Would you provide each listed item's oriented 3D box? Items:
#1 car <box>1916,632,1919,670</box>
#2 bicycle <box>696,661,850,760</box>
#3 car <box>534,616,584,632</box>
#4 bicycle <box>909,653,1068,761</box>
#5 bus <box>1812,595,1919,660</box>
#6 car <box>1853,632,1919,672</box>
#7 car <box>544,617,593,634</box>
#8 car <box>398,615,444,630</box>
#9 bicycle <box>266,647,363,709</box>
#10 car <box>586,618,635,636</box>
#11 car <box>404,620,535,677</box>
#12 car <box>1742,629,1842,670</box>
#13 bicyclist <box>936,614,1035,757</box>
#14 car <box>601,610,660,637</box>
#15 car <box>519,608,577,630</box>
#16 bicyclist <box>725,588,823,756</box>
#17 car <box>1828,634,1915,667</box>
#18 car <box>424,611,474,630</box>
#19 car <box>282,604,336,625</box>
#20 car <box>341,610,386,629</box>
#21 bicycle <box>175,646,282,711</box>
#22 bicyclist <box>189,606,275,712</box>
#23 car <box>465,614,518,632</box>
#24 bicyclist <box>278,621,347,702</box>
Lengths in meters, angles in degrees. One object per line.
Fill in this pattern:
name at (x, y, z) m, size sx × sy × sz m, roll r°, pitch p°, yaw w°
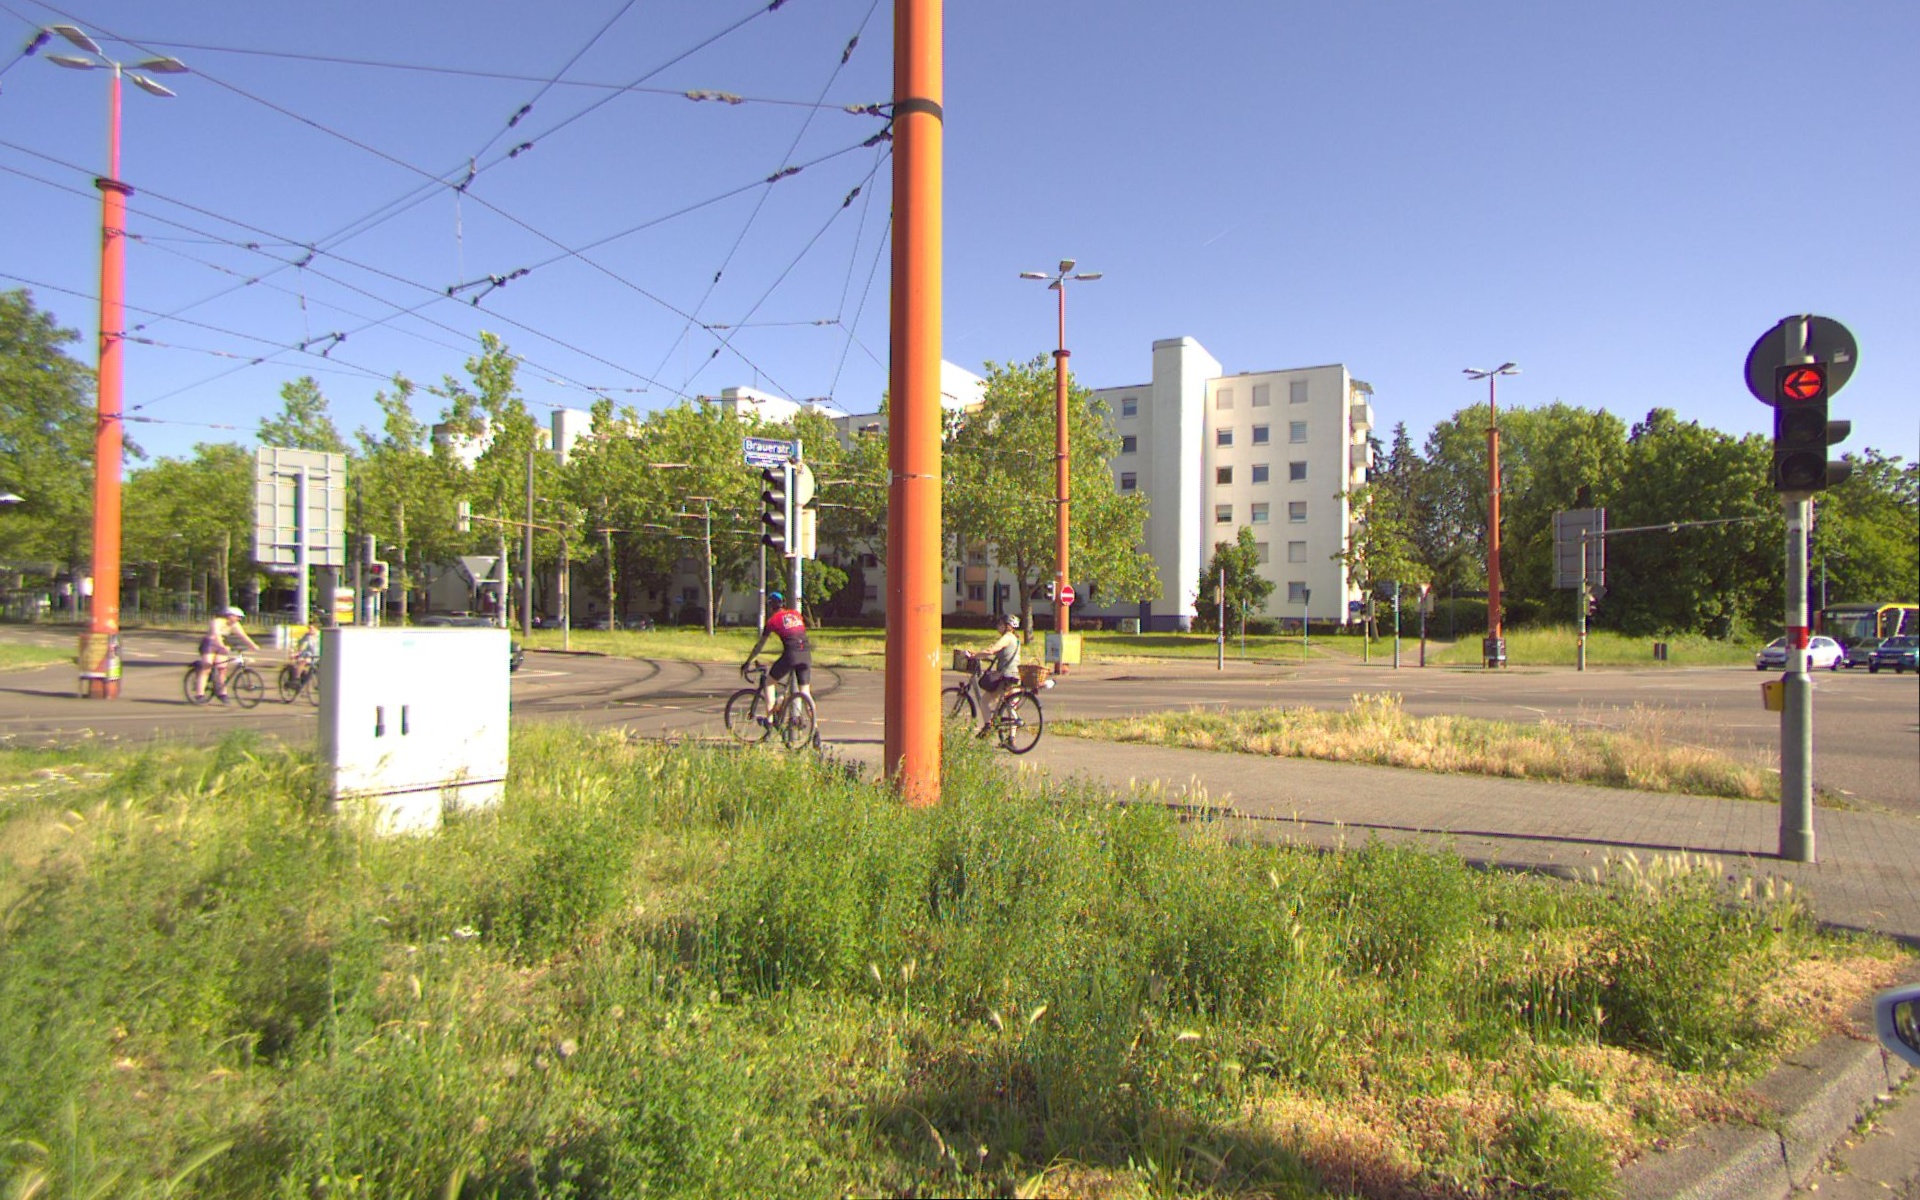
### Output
car at (42.610, 2.169, 42.715) m, size 3.955 × 1.575 × 1.891 m, roll 2°, pitch -2°, yaw -32°
bicycle at (-2.277, 1.291, 12.136) m, size 1.883 × 1.085 × 0.690 m, roll -2°, pitch -2°, yaw 33°
car at (-30.897, 1.859, 77.433) m, size 3.346 × 1.162 × 1.305 m, roll 2°, pitch 0°, yaw -13°
bicycle at (0.319, 1.251, 12.184) m, size 1.887 × 1.146 × 0.737 m, roll 0°, pitch -1°, yaw 41°
bus at (51.993, 1.599, 55.998) m, size 12.382 × 3.304 × 2.634 m, roll 2°, pitch 0°, yaw -29°
car at (37.299, 2.041, 39.764) m, size 3.813 × 1.535 × 1.793 m, roll 1°, pitch -3°, yaw -30°
car at (-29.329, 1.891, 75.337) m, size 3.219 × 1.172 × 1.357 m, roll 2°, pitch 0°, yaw -12°
car at (-46.627, 1.928, 86.950) m, size 3.370 × 1.204 × 1.439 m, roll 2°, pitch 0°, yaw -23°
bicycle at (-12.854, 1.535, 19.994) m, size 1.878 × 1.086 × 0.580 m, roll 2°, pitch 0°, yaw 19°
car at (-25.831, 1.997, 74.310) m, size 3.279 × 1.149 × 1.321 m, roll 2°, pitch 0°, yaw -11°
car at (-15.219, 1.441, 31.095) m, size 3.977 × 1.516 × 1.913 m, roll 2°, pitch 0°, yaw 34°
car at (35.369, 2.112, 42.686) m, size 4.168 × 1.673 × 1.869 m, roll 2°, pitch -3°, yaw -29°
bicyclist at (0.319, 1.001, 12.225) m, size 0.815 × 1.643 × 0.888 m, roll 0°, pitch -1°, yaw 41°
car at (-23.667, 1.704, 72.293) m, size 3.874 × 1.841 × 1.651 m, roll 2°, pitch 0°, yaw -13°
car at (-32.549, 1.508, 79.429) m, size 3.868 × 1.614 × 1.656 m, roll 2°, pitch 0°, yaw -8°
bicyclist at (-2.243, 0.848, 12.118) m, size 0.974 × 1.938 × 0.685 m, roll -1°, pitch -2°, yaw 33°
car at (43.138, 2.375, 47.531) m, size 3.952 × 1.533 × 1.877 m, roll 1°, pitch -2°, yaw -29°
car at (-43.260, 1.765, 85.095) m, size 3.592 × 1.480 × 1.608 m, roll 2°, pitch 0°, yaw -19°
car at (-66.303, 1.468, 102.352) m, size 4.274 × 2.010 × 1.932 m, roll 1°, pitch -1°, yaw -19°
car at (-50.163, 1.669, 84.424) m, size 3.884 × 1.522 × 1.833 m, roll -1°, pitch -3°, yaw 35°
bicycle at (-13.638, 1.438, 18.731) m, size 1.877 × 1.086 × 0.580 m, roll 2°, pitch 0°, yaw 17°
bicyclist at (-13.595, 1.082, 18.773) m, size 0.905 × 1.892 × 0.893 m, roll 2°, pitch 0°, yaw 17°
car at (-38.841, 1.921, 83.384) m, size 3.665 × 1.349 × 1.496 m, roll 2°, pitch 0°, yaw -8°
bicyclist at (-12.892, 1.202, 20.002) m, size 0.906 × 1.545 × 0.720 m, roll 2°, pitch 0°, yaw 20°
